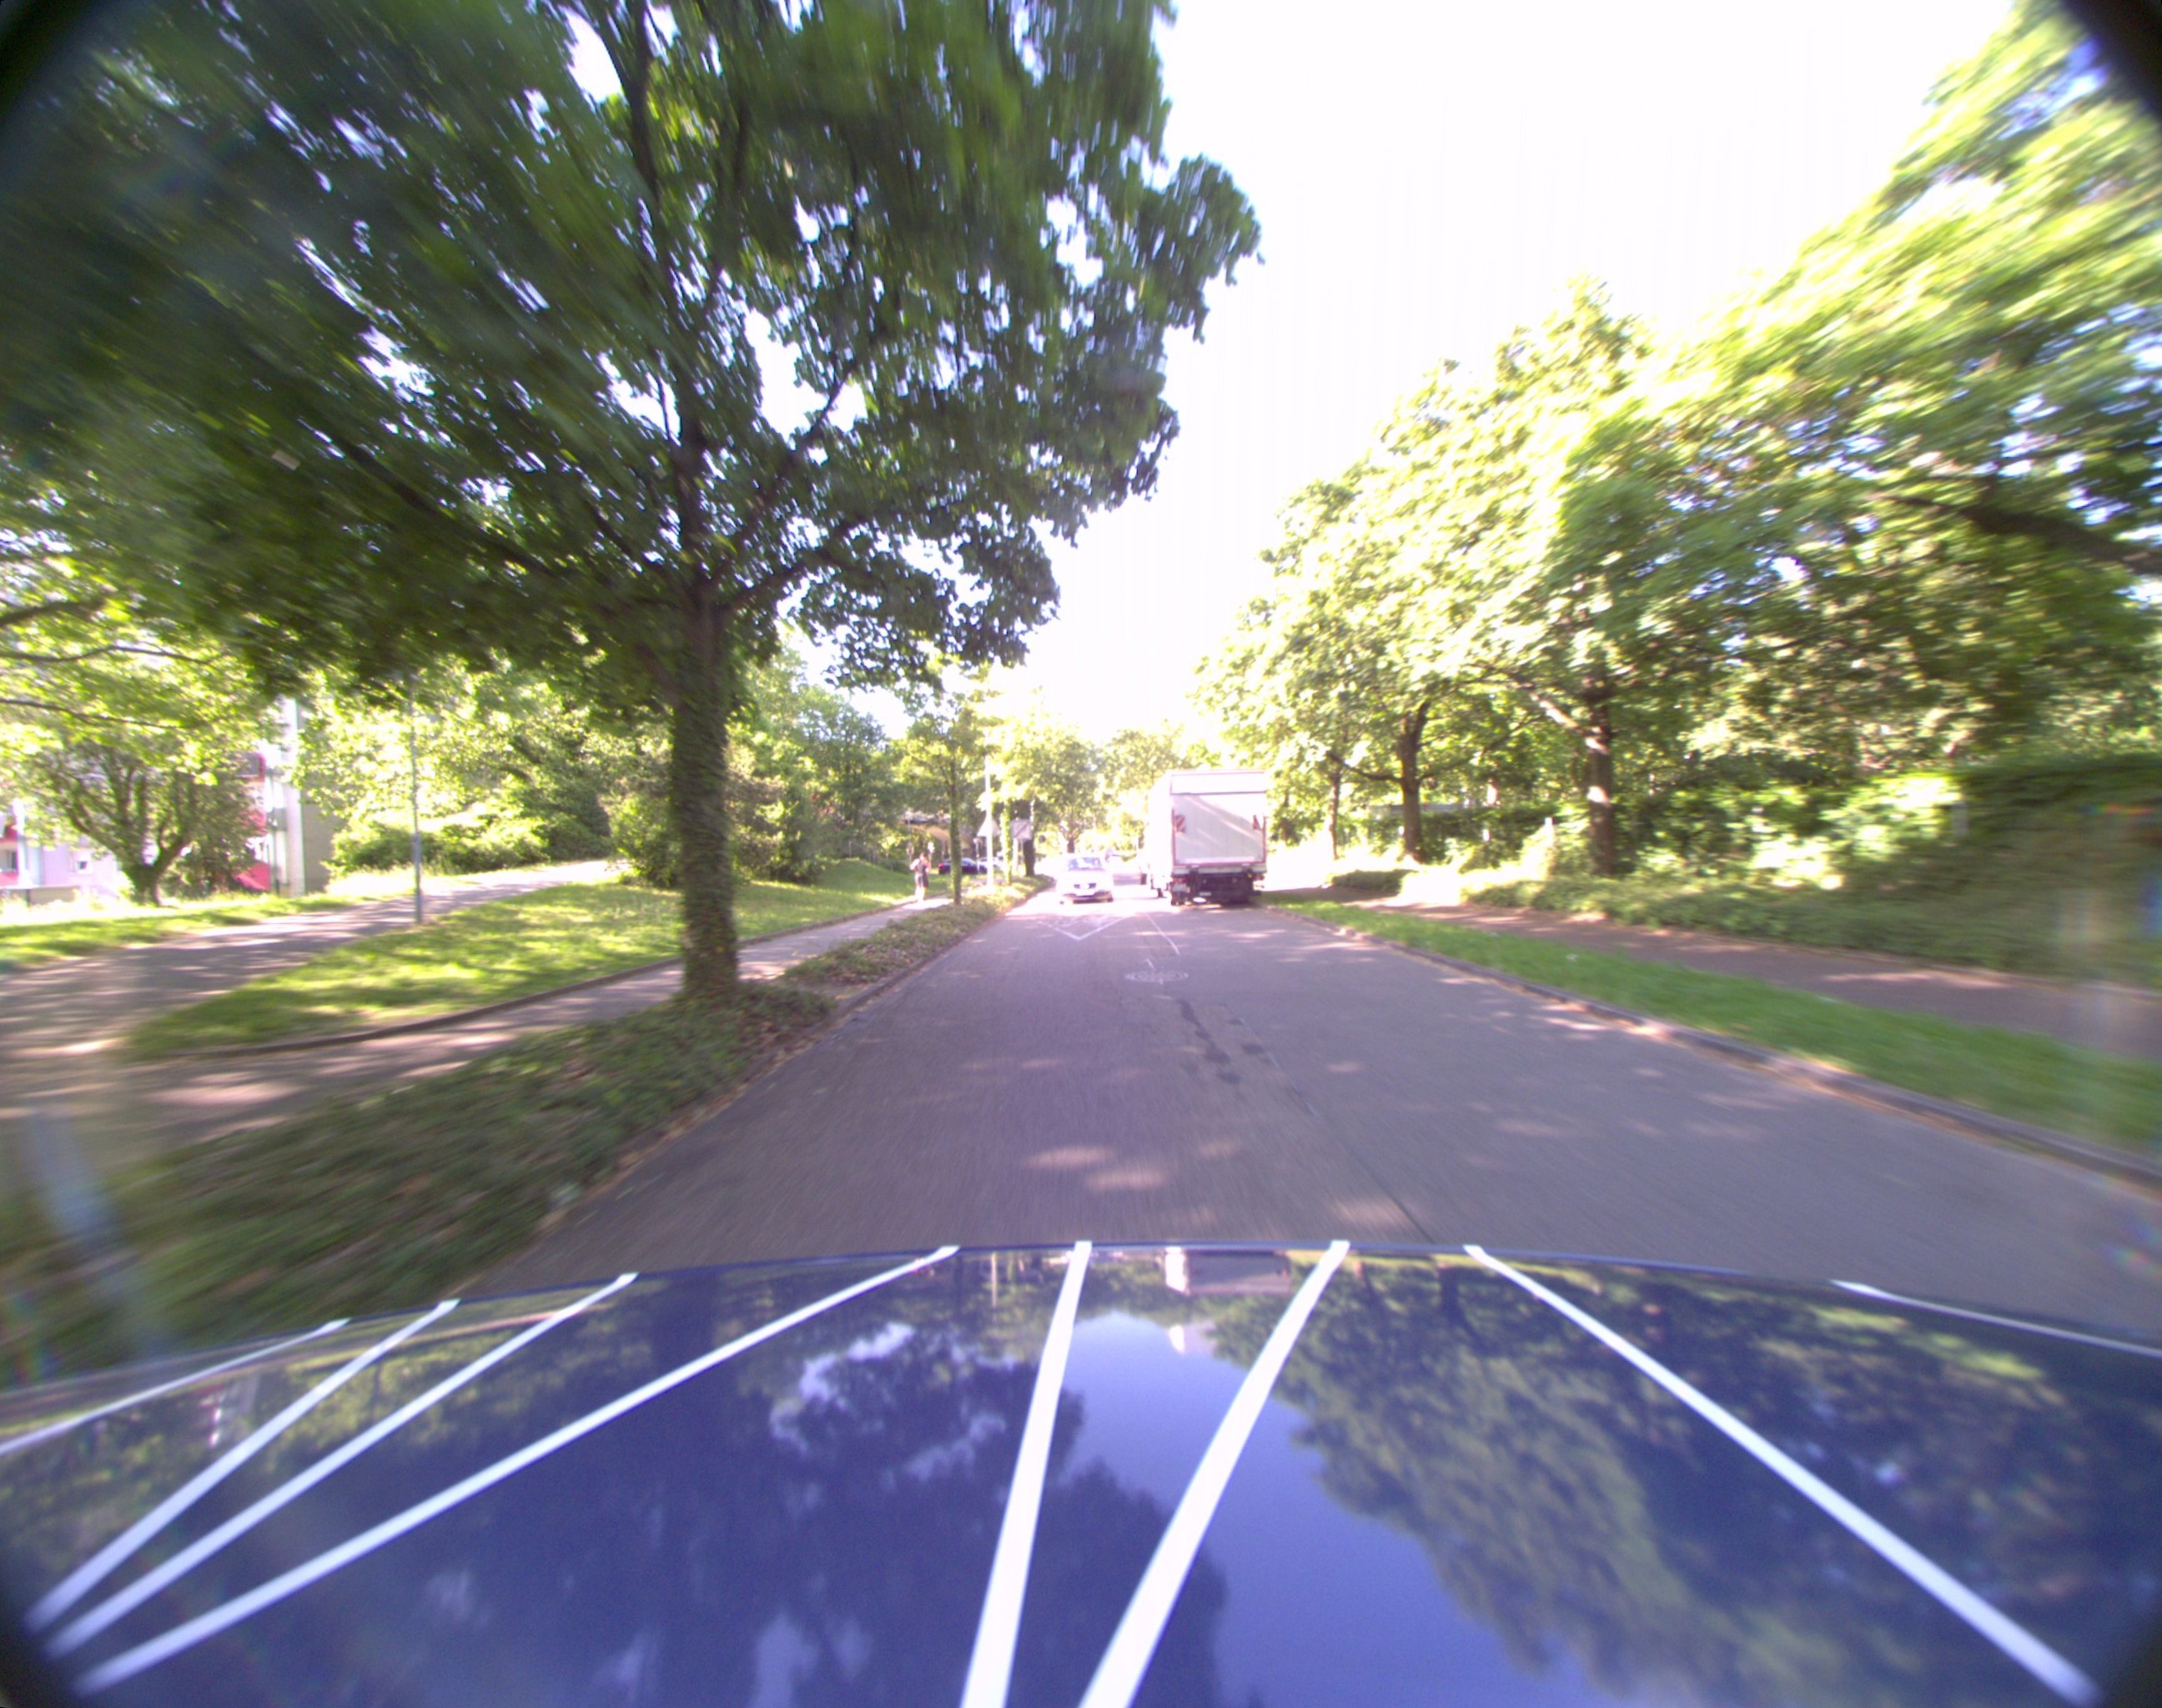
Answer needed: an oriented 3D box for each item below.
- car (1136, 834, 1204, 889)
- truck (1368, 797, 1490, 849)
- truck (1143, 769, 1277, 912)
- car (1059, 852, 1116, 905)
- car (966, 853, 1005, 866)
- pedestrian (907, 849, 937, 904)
[{"bbox_3d":[3.795,0.264,33.659,2.125,2.084,6.583,-2,1,0],"label":"car"},{"bbox_3d":[14.131,-1.225,31.029,3.997,2.002,2.203,-1,1,-1],"label":"truck"},{"bbox_3d":[3.699,-0.398,23.835,2.741,3.620,8.100,-2,1,0],"label":"truck"},{"bbox_3d":[0.242,0.765,25.759,1.734,1.578,4.000,-2,1,1],"label":"car"},{"bbox_3d":[-10.797,0.618,85.892,4.062,1.213,1.620,-4,1,6],"label":"car"},{"bbox_3d":[-5.425,0.748,25.911,0.793,1.821,0.671,-2,1,1],"label":"pedestrian"}]
